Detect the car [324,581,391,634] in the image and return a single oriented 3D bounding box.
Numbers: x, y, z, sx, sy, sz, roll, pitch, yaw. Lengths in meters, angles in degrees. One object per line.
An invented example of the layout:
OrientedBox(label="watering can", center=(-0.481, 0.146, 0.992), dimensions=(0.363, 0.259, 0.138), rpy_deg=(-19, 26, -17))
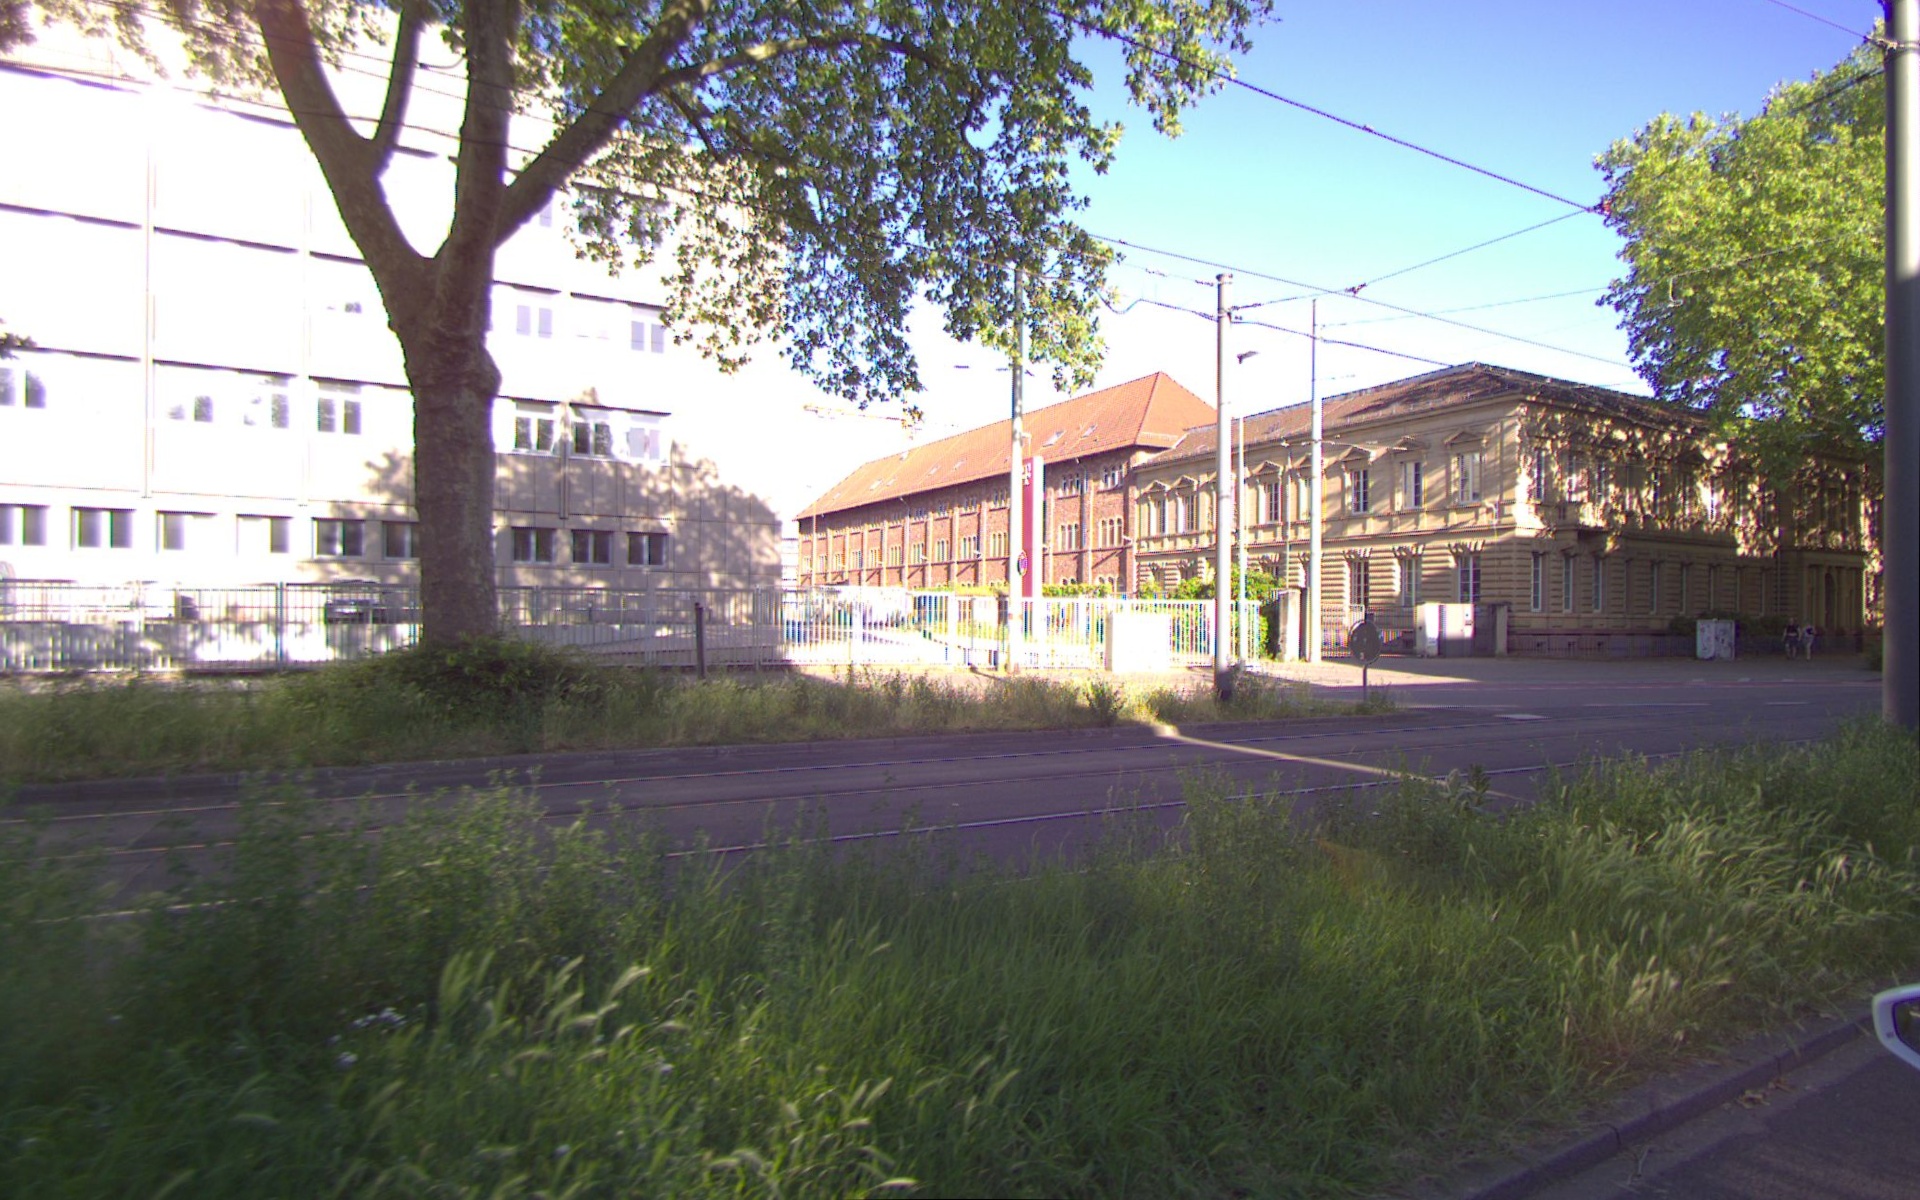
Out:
OrientedBox(label="car", center=(-21.148, 0.258, 35.381), dimensions=(1.831, 1.742, 4.248), rpy_deg=(1, 0, -29))

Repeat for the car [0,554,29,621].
OrientedBox(label="car", center=(-27.324, -0.361, 26.313), dimensions=(3.952, 1.775, 1.839), rpy_deg=(1, 0, -30))

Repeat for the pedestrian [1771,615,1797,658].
OrientedBox(label="pedestrian", center=(34.230, 1.509, 41.727), dimensions=(0.656, 1.720, 0.666), rpy_deg=(1, 0, -36))

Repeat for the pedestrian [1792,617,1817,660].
OrientedBox(label="pedestrian", center=(34.624, 1.560, 41.178), dimensions=(0.650, 1.720, 0.629), rpy_deg=(1, 0, -36))
